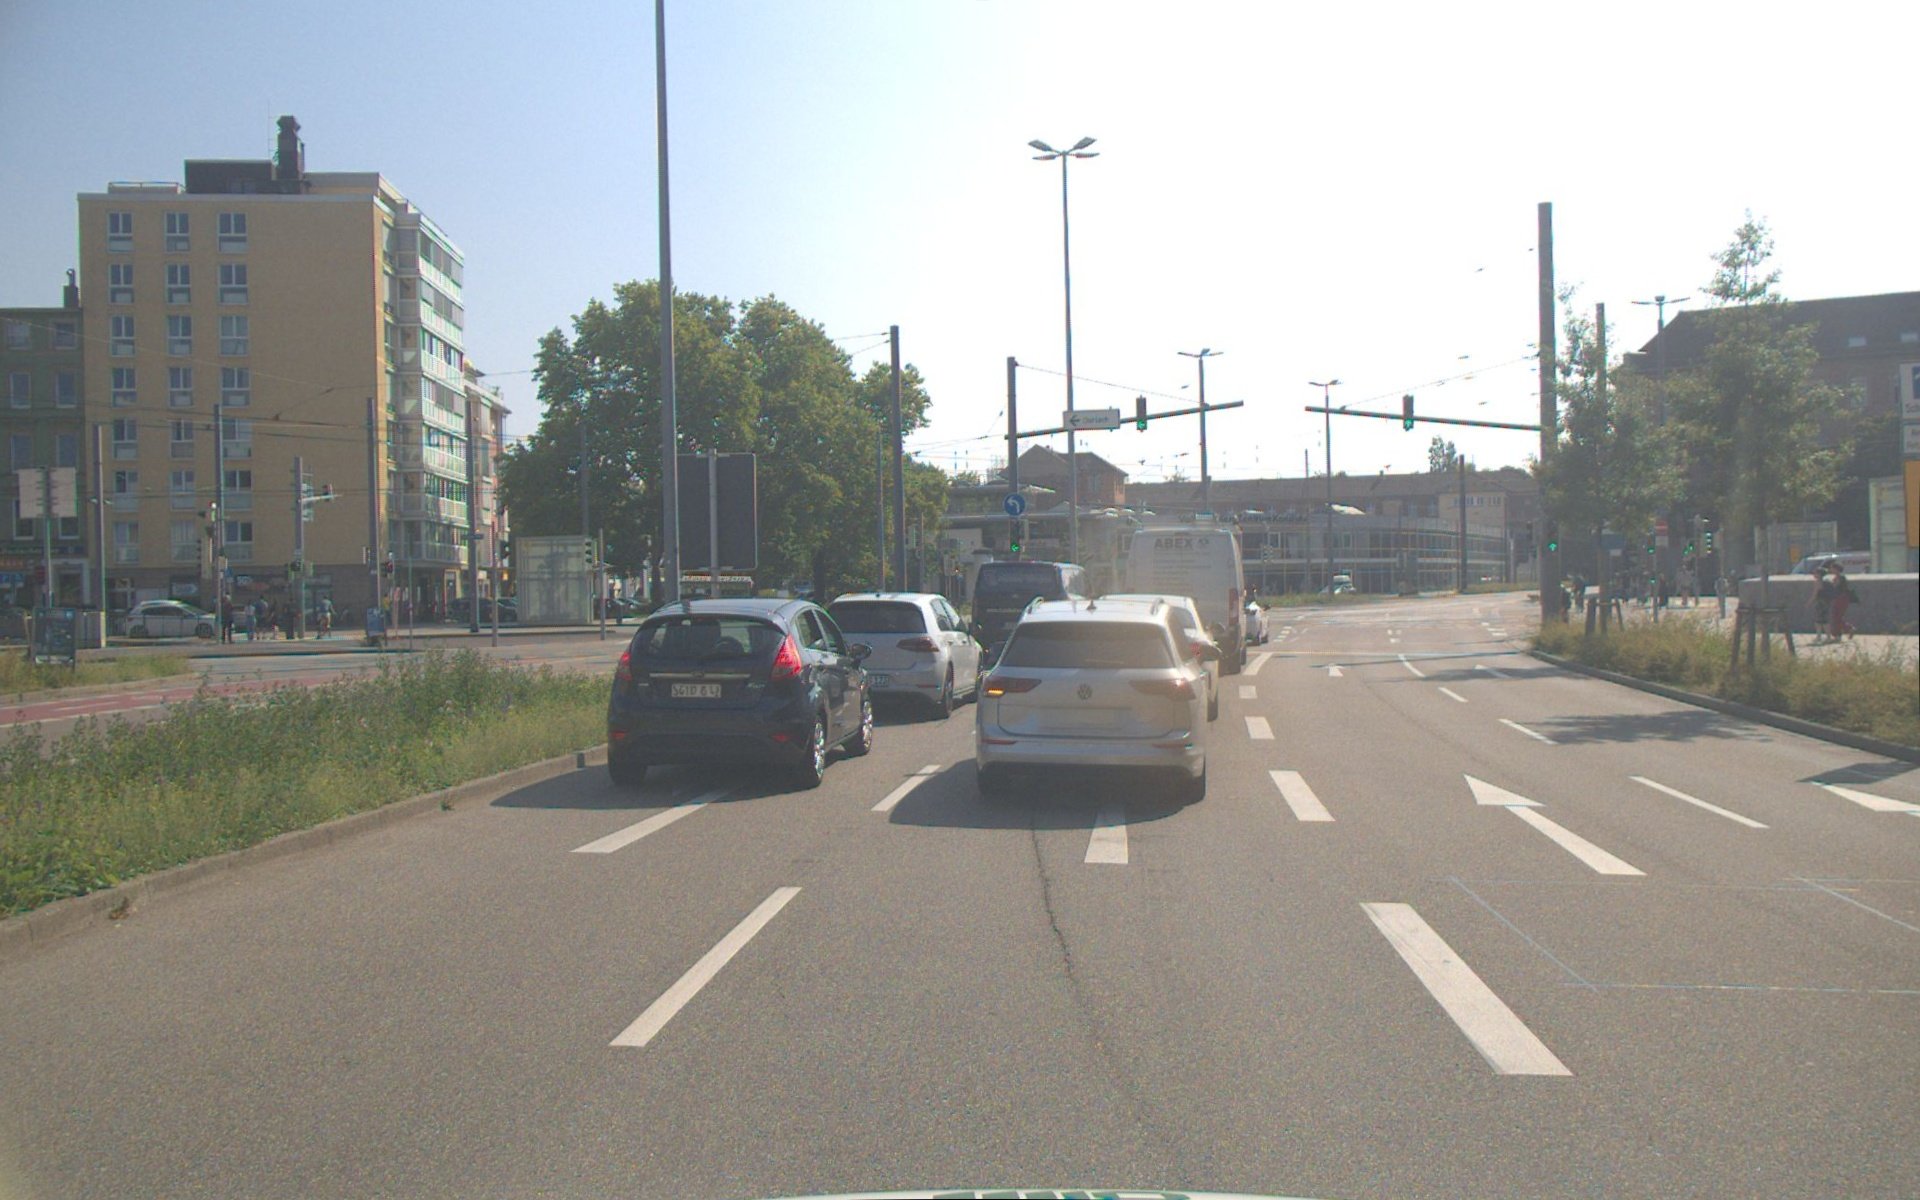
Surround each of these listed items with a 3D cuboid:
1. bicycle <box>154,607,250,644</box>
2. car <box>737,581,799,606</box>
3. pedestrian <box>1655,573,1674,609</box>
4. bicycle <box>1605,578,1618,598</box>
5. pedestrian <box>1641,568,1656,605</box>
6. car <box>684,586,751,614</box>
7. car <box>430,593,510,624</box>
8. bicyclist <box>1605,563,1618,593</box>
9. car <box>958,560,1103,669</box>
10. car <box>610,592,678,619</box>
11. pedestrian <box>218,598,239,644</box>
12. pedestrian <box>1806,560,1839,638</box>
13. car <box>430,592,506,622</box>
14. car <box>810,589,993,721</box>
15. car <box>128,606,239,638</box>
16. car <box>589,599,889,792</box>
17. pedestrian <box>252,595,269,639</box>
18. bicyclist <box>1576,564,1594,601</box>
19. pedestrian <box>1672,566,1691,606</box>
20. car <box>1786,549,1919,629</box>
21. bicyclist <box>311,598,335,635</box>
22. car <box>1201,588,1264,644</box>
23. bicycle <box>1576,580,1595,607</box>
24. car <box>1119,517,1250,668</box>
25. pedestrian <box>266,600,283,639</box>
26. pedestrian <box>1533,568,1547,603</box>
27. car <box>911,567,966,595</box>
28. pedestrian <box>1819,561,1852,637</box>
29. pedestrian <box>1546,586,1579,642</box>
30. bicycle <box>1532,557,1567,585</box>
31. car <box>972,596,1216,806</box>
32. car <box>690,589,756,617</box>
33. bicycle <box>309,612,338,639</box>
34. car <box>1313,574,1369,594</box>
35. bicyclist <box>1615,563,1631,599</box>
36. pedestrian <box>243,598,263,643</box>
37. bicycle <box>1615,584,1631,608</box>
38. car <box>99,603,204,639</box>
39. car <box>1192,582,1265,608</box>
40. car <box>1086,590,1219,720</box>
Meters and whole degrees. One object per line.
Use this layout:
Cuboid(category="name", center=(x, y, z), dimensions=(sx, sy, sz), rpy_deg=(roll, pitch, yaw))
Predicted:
Cuboid(category="bicycle", center=(-35.988, 1.201, 78.599), dimensions=(3.911, 1.578, 1.194), rpy_deg=(-1, 3, -7))
Cuboid(category="car", center=(-12.455, -0.425, 107.338), dimensions=(3.909, 1.585, 1.726), rpy_deg=(-1, 0, -5))
Cuboid(category="pedestrian", center=(30.988, -0.406, 72.772), dimensions=(0.731, 1.556, 0.806), rpy_deg=(-1, 0, 22))
Cuboid(category="bicycle", center=(40.984, -0.740, 104.009), dimensions=(0.724, 1.239, 2.246), rpy_deg=(-1, 0, 22))
Cuboid(category="pedestrian", center=(38.663, -0.765, 92.929), dimensions=(0.731, 2.049, 0.806), rpy_deg=(-1, 0, 22))
Cuboid(category="car", center=(-15.059, 0.016, 102.837), dimensions=(3.906, 1.646, 1.813), rpy_deg=(-1, 0, -1))
Cuboid(category="car", center=(-27.488, 0.483, 92.884), dimensions=(3.908, 1.584, 1.868), rpy_deg=(-1, 3, -4))
Cuboid(category="bicyclist", center=(40.956, -1.360, 103.982), dimensions=(0.731, 1.861, 0.806), rpy_deg=(-1, 0, 22))
Cuboid(category="car", center=(1.521, 0.262, 33.527), dimensions=(1.980, 2.043, 4.687), rpy_deg=(-1, 0, 15))
Cuboid(category="car", center=(-19.228, 0.315, 100.783), dimensions=(3.909, 1.585, 1.726), rpy_deg=(-1, 0, -5))
Cuboid(category="pedestrian", center=(-28.222, 0.800, 63.806), dimensions=(0.445, 1.714, 0.547), rpy_deg=(0, 3, 20))
Cuboid(category="pedestrian", center=(18.703, -0.022, 35.878), dimensions=(0.603, 1.667, 0.533), rpy_deg=(-1, 0, 29))
Cuboid(category="car", center=(-28.434, 0.391, 95.738), dimensions=(3.864, 1.584, 1.793), rpy_deg=(-1, 3, -4))
Cuboid(category="car", center=(-0.631, 0.613, 20.445), dimensions=(1.457, 1.439, 3.651), rpy_deg=(-1, 1, 11))
Cuboid(category="car", center=(-31.752, 0.918, 67.687), dimensions=(3.754, 1.200, 1.574), rpy_deg=(-1, -2, -4))
Cuboid(category="car", center=(-1.713, 0.702, 14.100), dimensions=(1.665, 1.392, 3.966), rpy_deg=(-1, 0, 5))
Cuboid(category="pedestrian", center=(-27.632, 0.669, 65.369), dimensions=(0.452, 1.714, 0.433), rpy_deg=(-3, 3, -43))
Cuboid(category="bicyclist", center=(26.582, -0.759, 70.323), dimensions=(0.698, 1.556, 0.806), rpy_deg=(-1, 0, 22))
Cuboid(category="pedestrian", center=(34.502, -0.671, 79.128), dimensions=(0.787, 1.921, 0.749), rpy_deg=(-1, 0, 22))
Cuboid(category="car", center=(25.358, -0.336, 46.139), dimensions=(3.915, 2.048, 1.750), rpy_deg=(-1, 3, -11))
Cuboid(category="bicyclist", center=(-25.171, 0.653, 65.366), dimensions=(0.712, 1.459, 0.688), rpy_deg=(-1, 0, -9))
Cuboid(category="car", center=(7.350, 0.397, 44.525), dimensions=(1.602, 1.428, 3.690), rpy_deg=(-1, 0, 10))
Cuboid(category="bicycle", center=(26.597, -0.279, 70.334), dimensions=(0.691, 1.080, 1.982), rpy_deg=(-1, 0, 22))
Cuboid(category="car", center=(4.278, -0.114, 30.911), dimensions=(2.142, 2.594, 4.687), rpy_deg=(-1, 0, 11))
Cuboid(category="pedestrian", center=(-27.245, 0.755, 65.741), dimensions=(0.495, 1.513, 0.433), rpy_deg=(-3, 4, -43))
Cuboid(category="pedestrian", center=(33.553, -0.835, 95.700), dimensions=(0.731, 2.049, 0.806), rpy_deg=(-1, 0, 22))
Cuboid(category="car", center=(-1.631, -1.471, 125.937), dimensions=(3.902, 2.048, 2.002), rpy_deg=(-1, 3, 6))
Cuboid(category="pedestrian", center=(19.237, -0.022, 36.337), dimensions=(0.603, 1.657, 0.533), rpy_deg=(-1, 0, 29))
Cuboid(category="pedestrian", center=(15.358, 0.352, 42.153), dimensions=(0.622, 1.385, 0.634), rpy_deg=(-1, 0, 5))
Cuboid(category="bicycle", center=(21.102, -1.031, 59.230), dimensions=(0.755, 0.993, 2.152), rpy_deg=(-1, 0, 7))
Cuboid(category="car", center=(1.181, 0.689, 13.056), dimensions=(1.649, 1.412, 3.637), rpy_deg=(-1, 0, 9))
Cuboid(category="car", center=(-15.007, 0.178, 104.959), dimensions=(3.906, 1.646, 1.813), rpy_deg=(-1, 0, -1))
Cuboid(category="bicycle", center=(-25.172, 1.002, 65.415), dimensions=(0.714, 1.001, 1.728), rpy_deg=(-1, 0, -8))
Cuboid(category="car", center=(29.231, -1.236, 126.838), dimensions=(3.946, 1.467, 1.979), rpy_deg=(-2, 0, -31))
Cuboid(category="bicyclist", center=(33.880, -0.989, 84.574), dimensions=(0.731, 1.817, 1.113), rpy_deg=(-1, 0, 22))
Cuboid(category="pedestrian", center=(-27.468, 0.786, 64.267), dimensions=(0.445, 1.714, 0.548), rpy_deg=(0, 3, 7))
Cuboid(category="bicycle", center=(33.884, -0.203, 84.584), dimensions=(0.731, 1.168, 2.867), rpy_deg=(-1, 0, 22))
Cuboid(category="car", center=(-34.484, 0.876, 70.601), dimensions=(3.664, 1.417, 1.585), rpy_deg=(-1, 0, -4))
Cuboid(category="car", center=(15.315, -0.274, 94.458), dimensions=(3.883, 1.366, 1.931), rpy_deg=(-1, 0, 3))
Cuboid(category="car", center=(2.434, 0.617, 20.312), dimensions=(1.457, 1.427, 3.945), rpy_deg=(-1, 0, 9))
